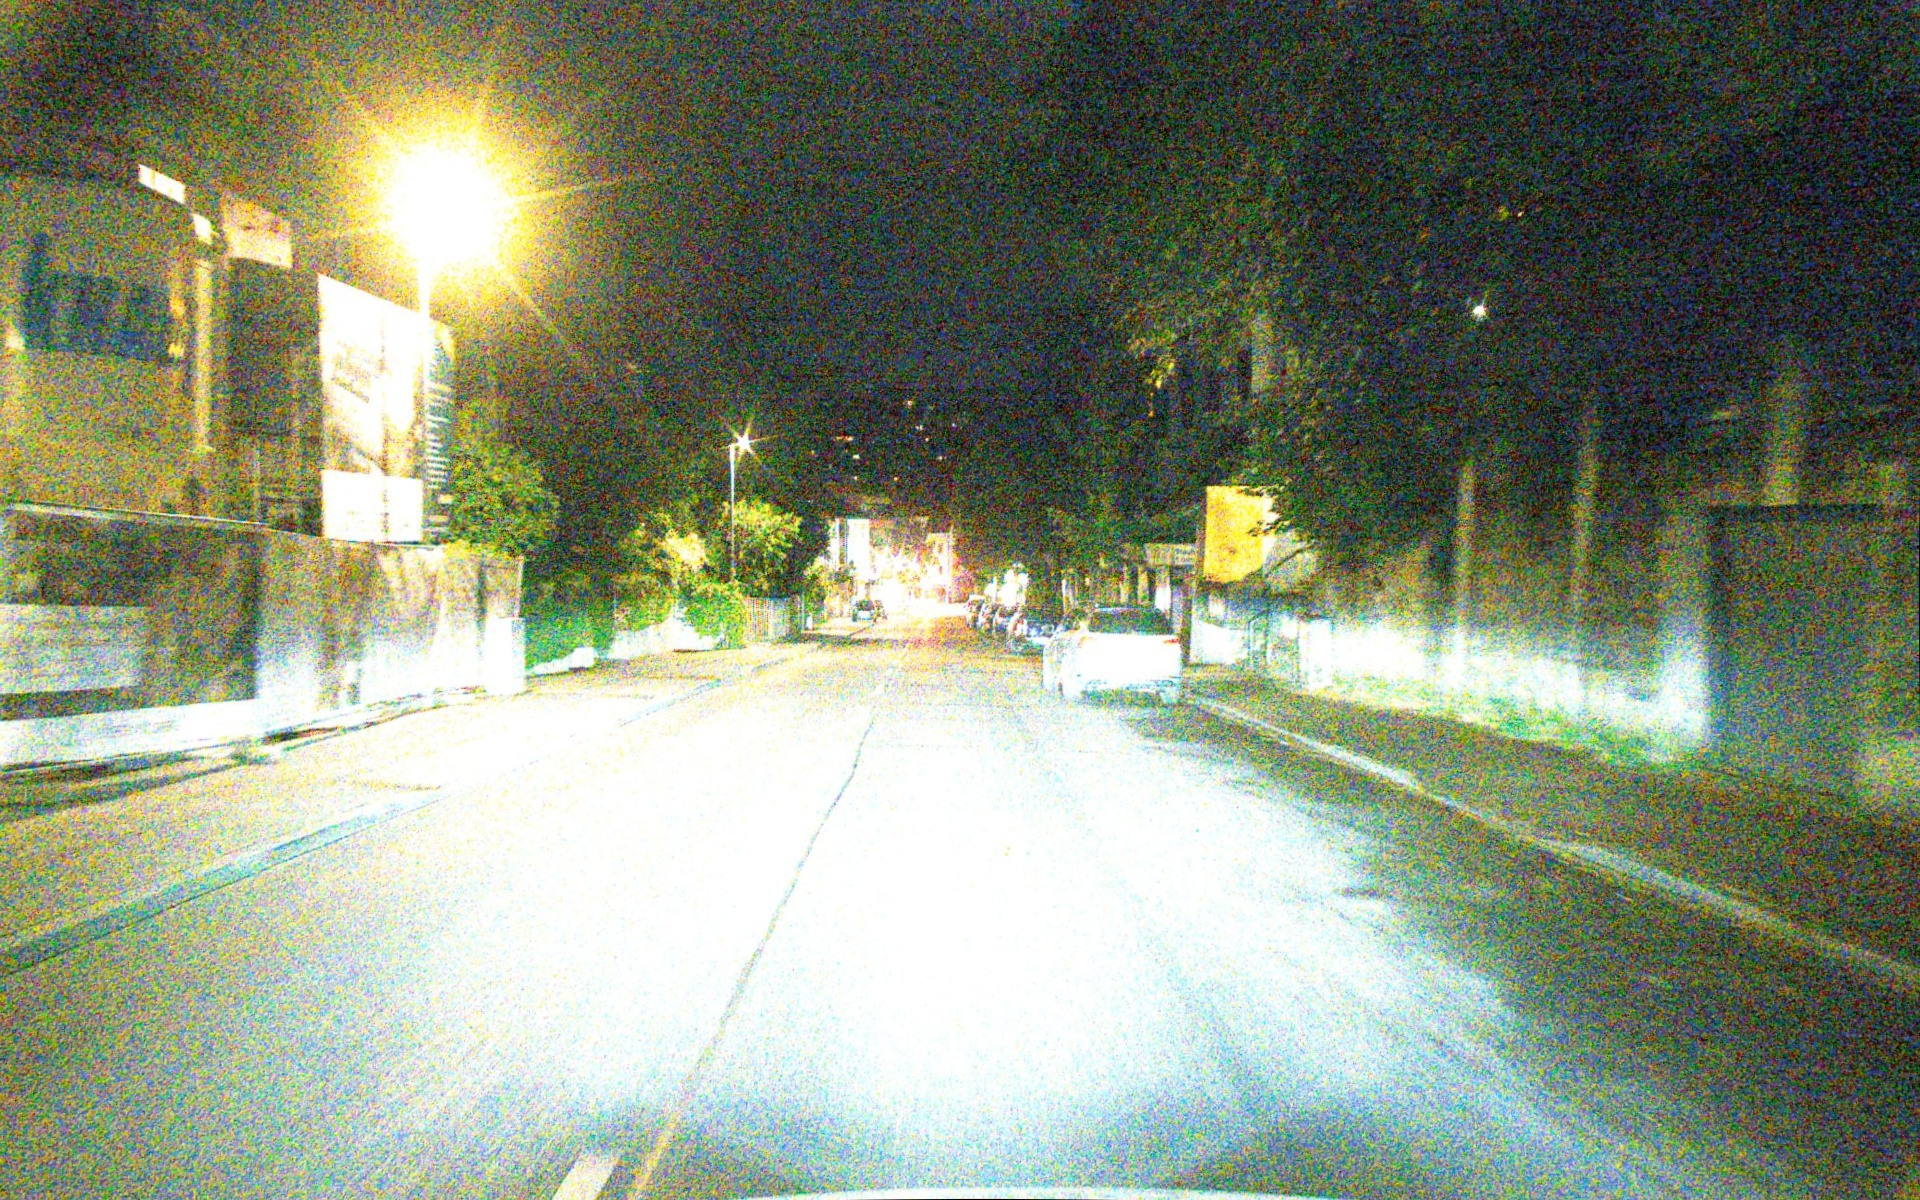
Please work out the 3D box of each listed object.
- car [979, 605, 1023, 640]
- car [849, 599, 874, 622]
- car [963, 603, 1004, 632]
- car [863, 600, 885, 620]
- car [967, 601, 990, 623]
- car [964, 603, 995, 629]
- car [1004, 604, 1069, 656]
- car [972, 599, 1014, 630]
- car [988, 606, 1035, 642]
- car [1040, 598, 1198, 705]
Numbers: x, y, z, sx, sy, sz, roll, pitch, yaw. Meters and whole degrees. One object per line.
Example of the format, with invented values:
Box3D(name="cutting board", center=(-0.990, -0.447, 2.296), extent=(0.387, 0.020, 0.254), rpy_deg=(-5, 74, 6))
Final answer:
Box3D(name="car", center=(1.792, 0.975, 73.898), extent=(1.649, 1.474, 3.998), rpy_deg=(1, 0, -3))
Box3D(name="car", center=(-6.910, 0.739, 115.759), extent=(1.718, 1.566, 3.727), rpy_deg=(0, 0, -4))
Box3D(name="car", center=(1.234, 0.921, 89.138), extent=(1.650, 1.474, 3.994), rpy_deg=(1, 0, -7))
Box3D(name="car", center=(-6.864, 0.794, 132.883), extent=(1.718, 1.566, 3.729), rpy_deg=(0, 0, -2))
Box3D(name="car", center=(1.326, 0.885, 120.727), extent=(1.648, 1.566, 4.000), rpy_deg=(0, 0, 0))
Box3D(name="car", center=(1.152, 0.974, 100.313), extent=(1.649, 1.474, 3.998), rpy_deg=(1, 0, -3))
Box3D(name="car", center=(2.258, 0.857, 49.450), extent=(1.597, 1.464, 3.862), rpy_deg=(1, 0, -2))
Box3D(name="car", center=(1.668, 0.727, 84.504), extent=(1.650, 1.474, 3.995), rpy_deg=(1, 0, -6))
Box3D(name="car", center=(2.185, 0.974, 69.058), extent=(1.829, 1.427, 4.002), rpy_deg=(1, 0, 3))
Box3D(name="car", center=(2.414, 0.747, 26.145), extent=(1.728, 1.501, 4.272), rpy_deg=(2, 0, -5))
